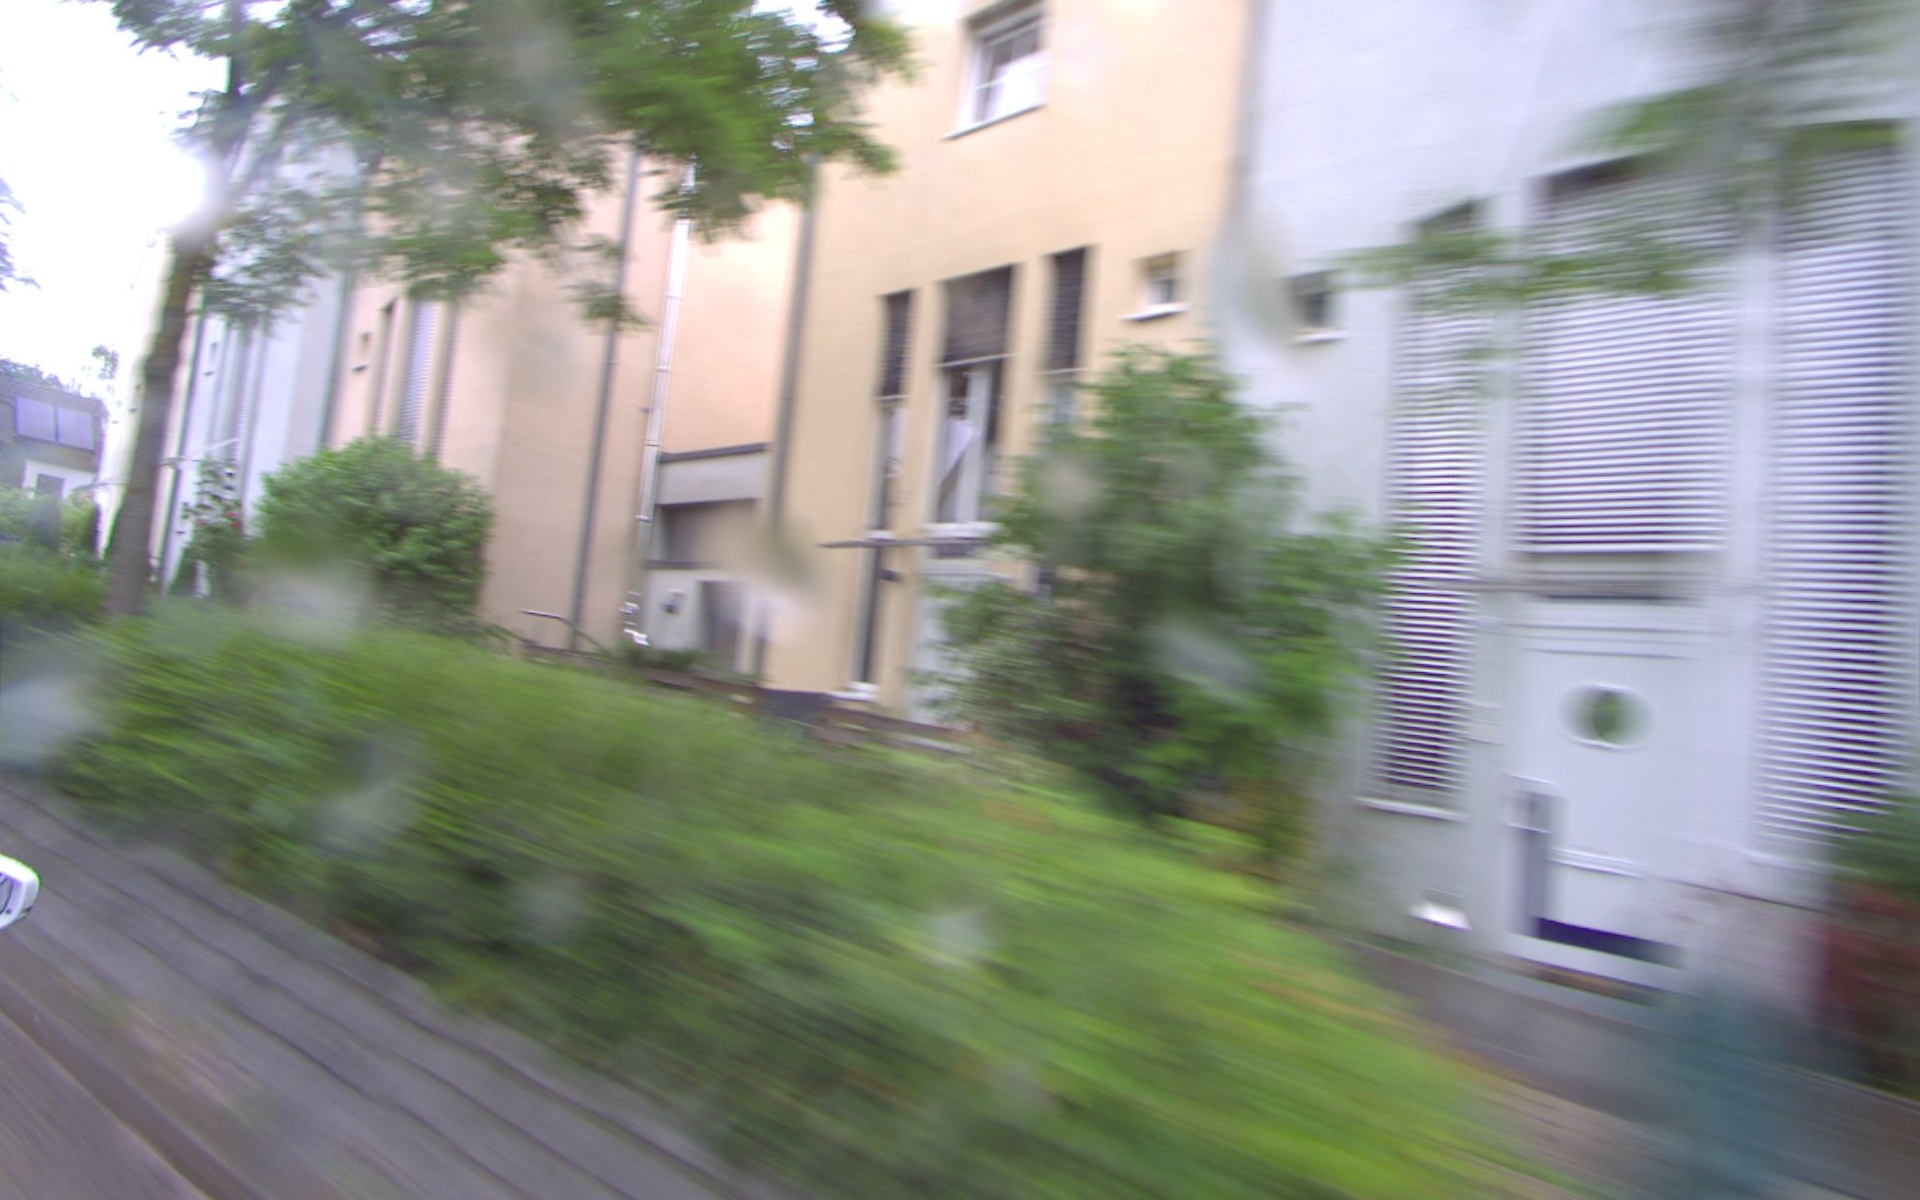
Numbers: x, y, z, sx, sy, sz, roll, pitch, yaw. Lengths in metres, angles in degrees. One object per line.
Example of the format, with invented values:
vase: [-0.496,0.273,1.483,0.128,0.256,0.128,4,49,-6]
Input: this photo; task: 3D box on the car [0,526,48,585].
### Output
car: [-30.160,-1.611,29.971,1.840,1.601,4.131,3,-6,42]
